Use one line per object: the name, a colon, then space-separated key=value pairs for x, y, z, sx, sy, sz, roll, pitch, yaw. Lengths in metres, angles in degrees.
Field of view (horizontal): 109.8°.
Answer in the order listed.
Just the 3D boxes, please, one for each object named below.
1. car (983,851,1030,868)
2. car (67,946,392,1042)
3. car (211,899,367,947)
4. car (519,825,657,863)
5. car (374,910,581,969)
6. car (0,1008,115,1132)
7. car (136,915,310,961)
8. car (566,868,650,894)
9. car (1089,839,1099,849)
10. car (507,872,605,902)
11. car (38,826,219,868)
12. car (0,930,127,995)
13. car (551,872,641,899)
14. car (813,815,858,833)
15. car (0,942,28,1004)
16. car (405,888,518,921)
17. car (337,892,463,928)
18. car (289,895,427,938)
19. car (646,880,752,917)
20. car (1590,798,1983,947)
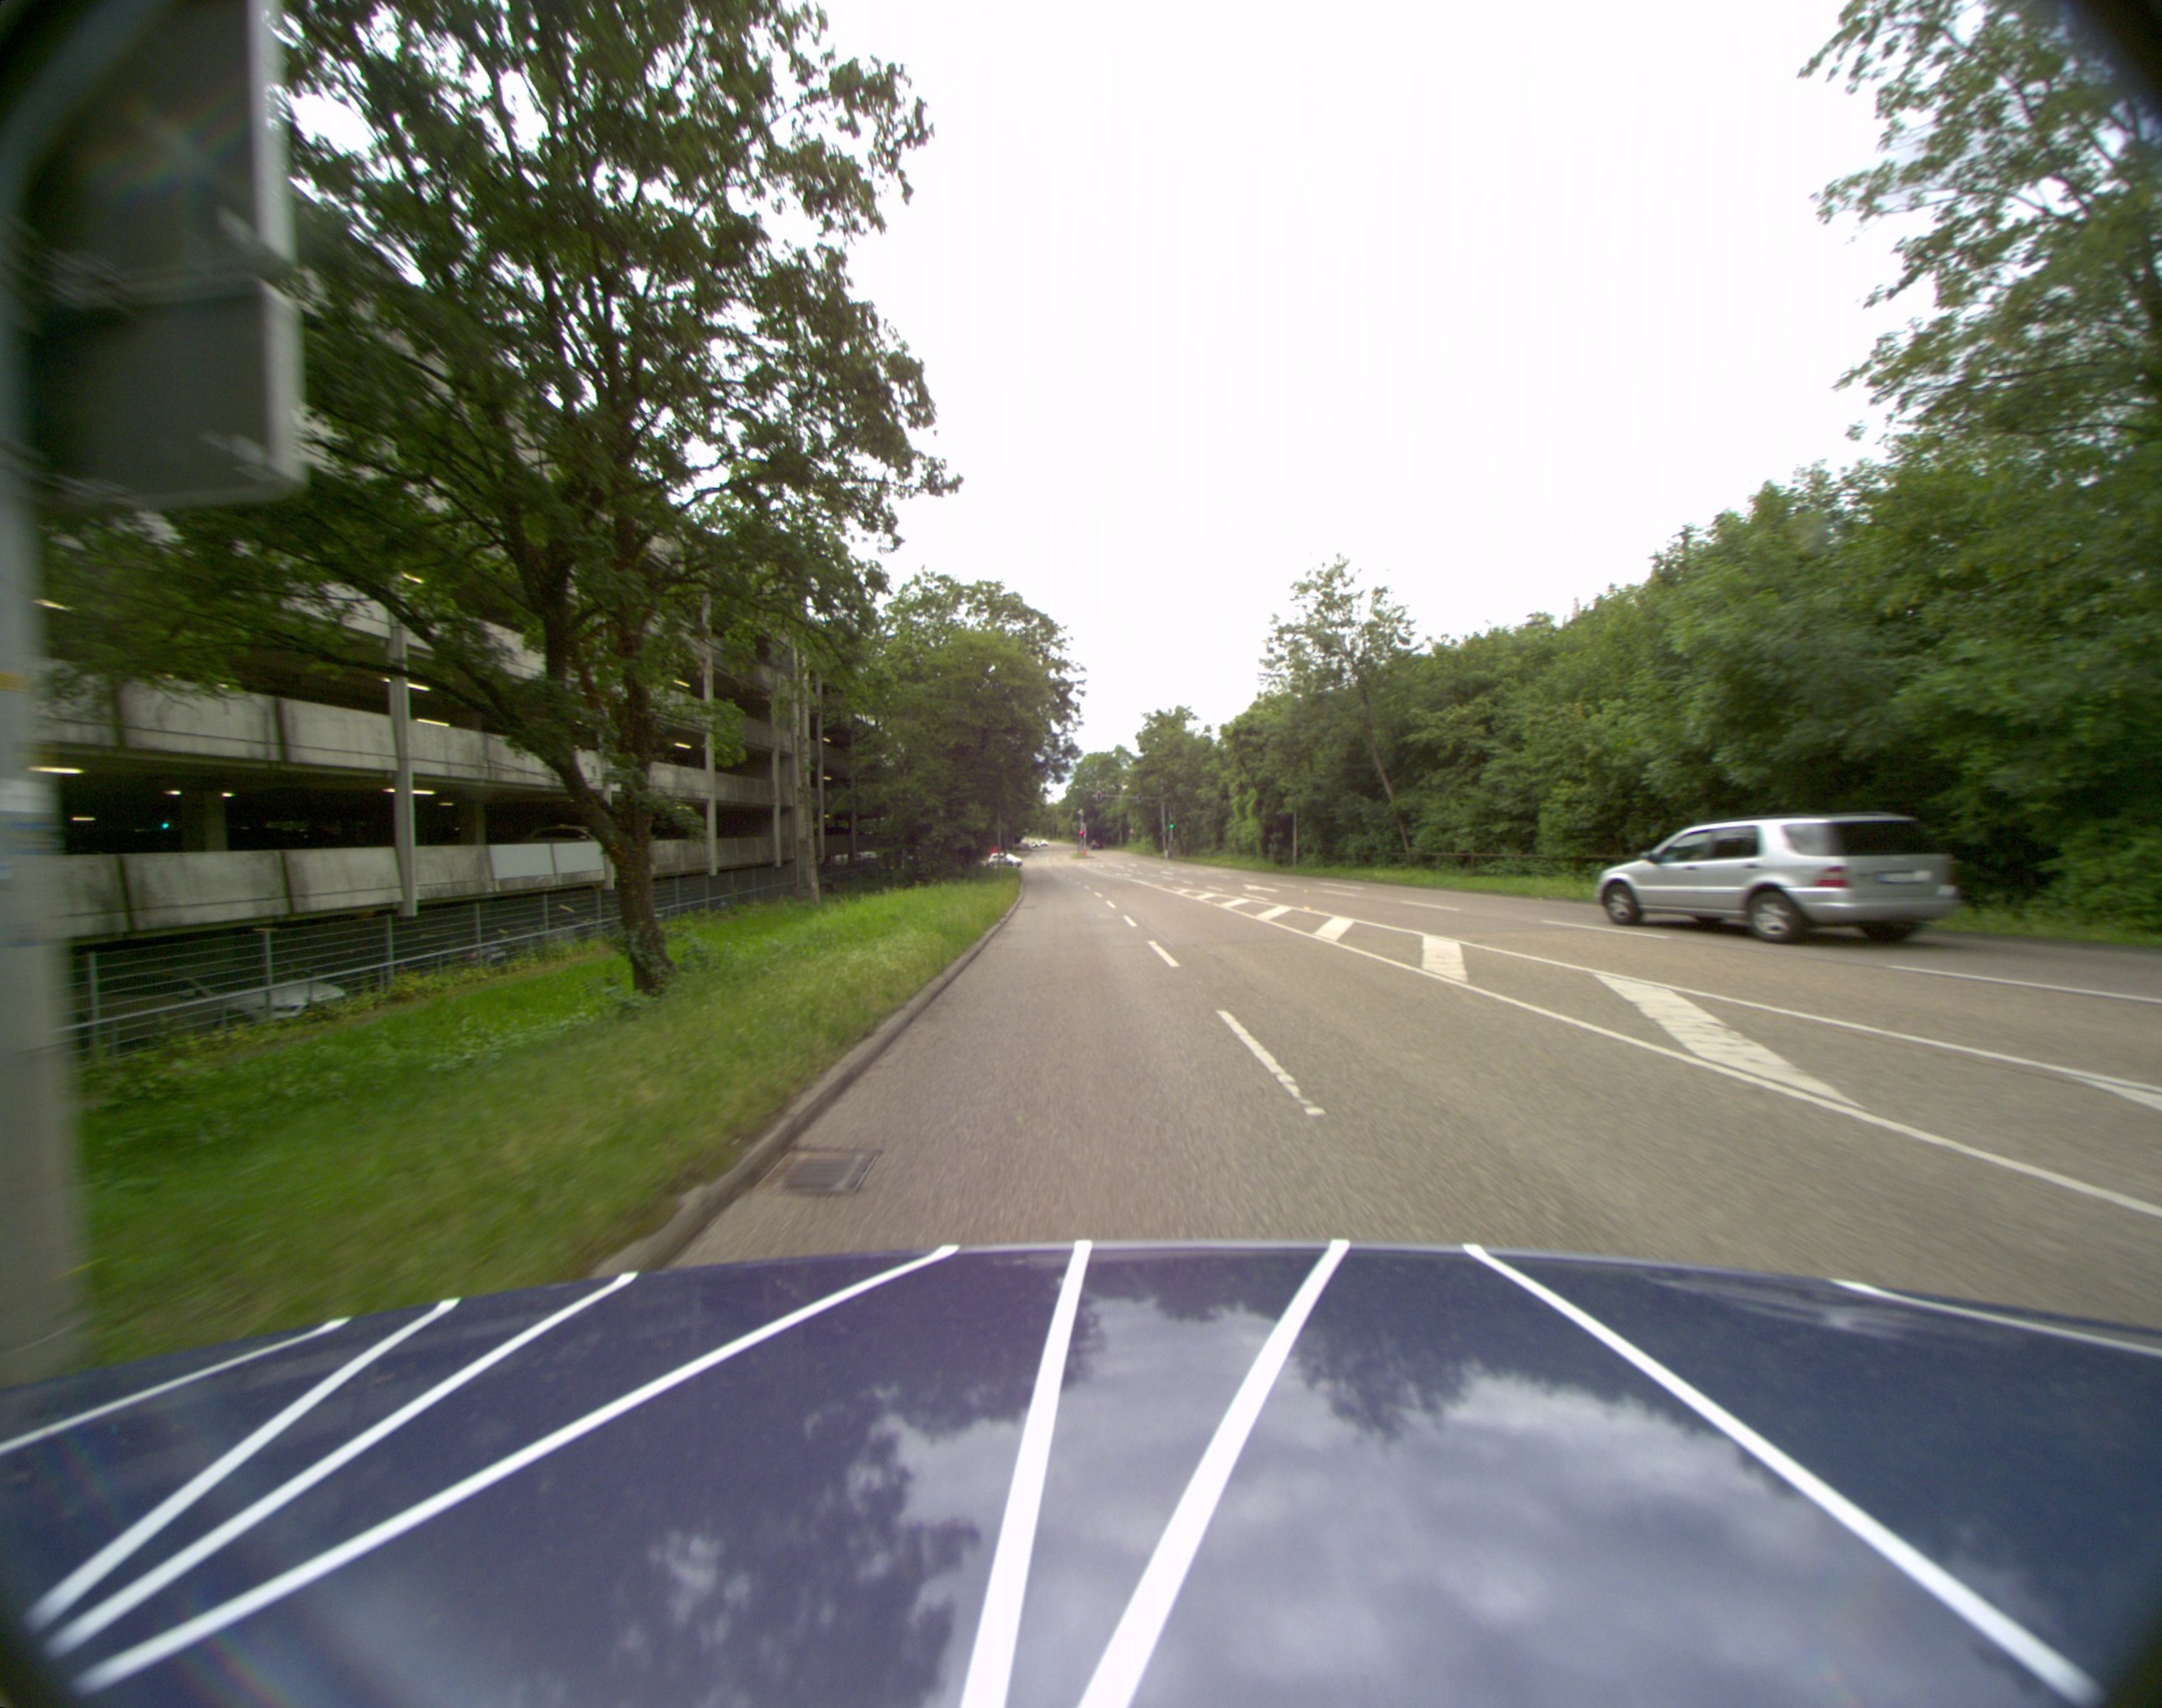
car: x=-7.783 y=0.532 z=79.015 sx=4.498 sy=1.471 sz=1.859 roll=-3 pitch=1 yaw=29
car: x=-17.342 y=2.826 z=15.697 sx=4.267 sy=1.498 sz=1.948 roll=0 pitch=3 yaw=-4
car: x=-28.344 y=2.449 z=27.287 sx=3.673 sy=1.471 sz=1.672 roll=0 pitch=3 yaw=-4
car: x=-18.004 y=-0.383 z=27.854 sx=3.841 sy=1.336 sz=1.832 roll=0 pitch=2 yaw=2
car: x=-18.219 y=2.554 z=23.131 sx=4.603 sy=1.498 sz=1.947 roll=0 pitch=2 yaw=-3
car: x=-17.217 y=3.196 z=10.855 sx=4.016 sy=1.429 sz=1.948 roll=-1 pitch=3 yaw=-4
car: x=-28.424 y=2.766 z=25.282 sx=3.673 sy=1.276 sz=1.672 roll=0 pitch=2 yaw=-4
car: x=-29.700 y=1.676 z=47.821 sx=4.071 sy=1.480 sz=1.825 roll=-1 pitch=2 yaw=-4
car: x=2.448 y=-1.880 z=142.894 sx=1.827 sy=1.644 sz=4.219 roll=-3 pitch=2 yaw=-1
car: x=-29.100 y=1.826 z=42.229 sx=4.071 sy=1.444 sz=1.825 roll=-1 pitch=2 yaw=-4
car: x=-33.930 y=-0.276 z=27.149 sx=3.998 sy=1.320 sz=1.677 roll=-1 pitch=4 yaw=-4
car: x=-28.464 y=2.878 z=20.252 sx=3.673 sy=1.433 sz=1.672 roll=0 pitch=3 yaw=-4
car: x=-28.586 y=1.841 z=44.893 sx=4.071 sy=1.408 sz=1.825 roll=-1 pitch=2 yaw=-4
car: x=-18.628 y=-2.299 z=57.724 sx=2.895 sy=1.240 sz=1.355 roll=-1 pitch=4 yaw=-2
car: x=-28.041 y=2.948 z=17.950 sx=3.673 sy=1.433 sz=1.672 roll=0 pitch=3 yaw=-4
car: x=-28.303 y=2.287 z=34.792 sx=3.673 sy=1.343 sz=1.672 roll=0 pitch=2 yaw=-4
car: x=-28.864 y=2.360 z=32.281 sx=3.673 sy=1.343 sz=1.672 roll=0 pitch=2 yaw=-4
car: x=-28.348 y=2.417 z=29.884 sx=3.673 sy=1.474 sz=1.672 roll=0 pitch=3 yaw=-4
car: x=-17.796 y=2.054 z=35.550 sx=3.998 sy=1.524 sz=1.862 roll=0 pitch=2 yaw=-4
car: x=10.284 y=0.217 z=11.664 sx=1.818 sy=1.819 sz=4.382 roll=-1 pitch=0 yaw=-3
